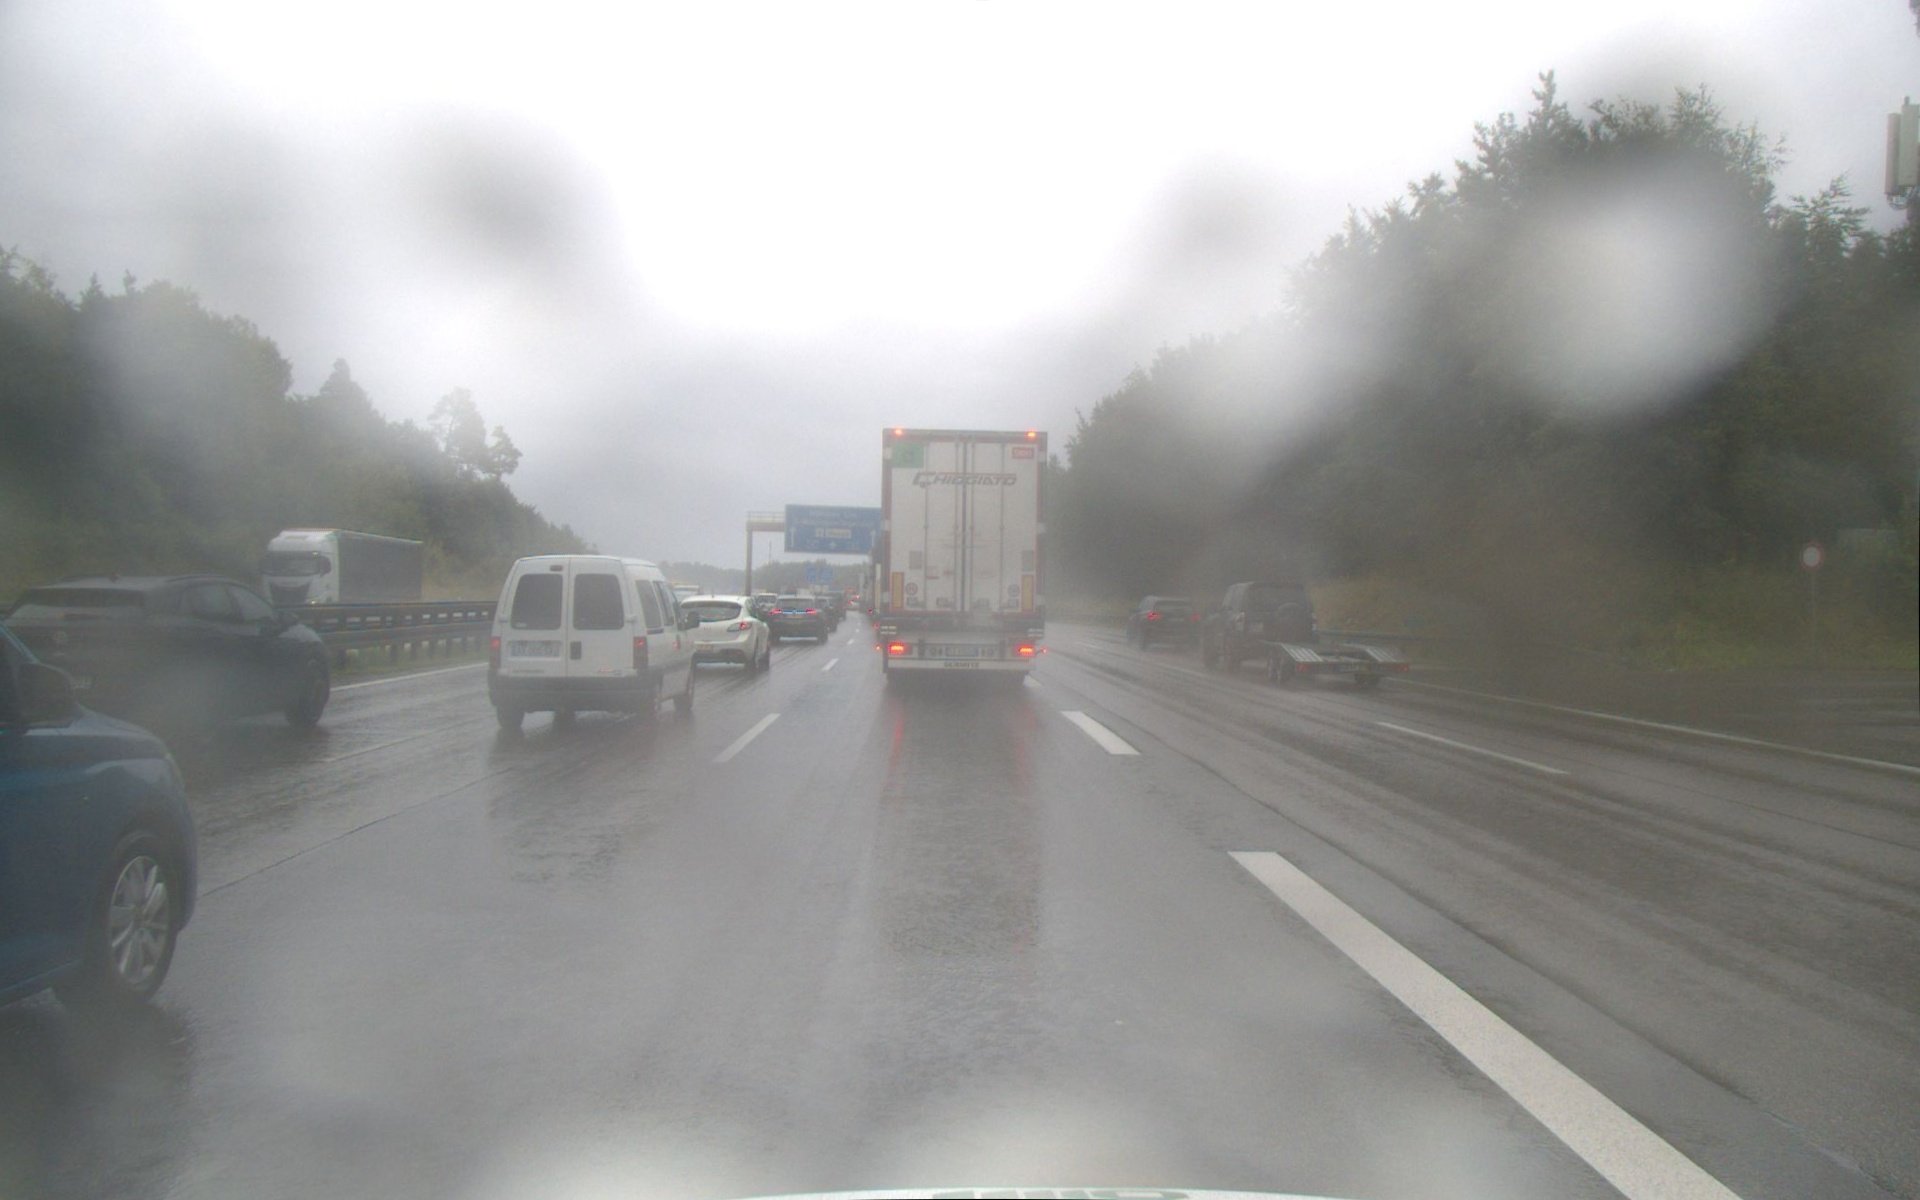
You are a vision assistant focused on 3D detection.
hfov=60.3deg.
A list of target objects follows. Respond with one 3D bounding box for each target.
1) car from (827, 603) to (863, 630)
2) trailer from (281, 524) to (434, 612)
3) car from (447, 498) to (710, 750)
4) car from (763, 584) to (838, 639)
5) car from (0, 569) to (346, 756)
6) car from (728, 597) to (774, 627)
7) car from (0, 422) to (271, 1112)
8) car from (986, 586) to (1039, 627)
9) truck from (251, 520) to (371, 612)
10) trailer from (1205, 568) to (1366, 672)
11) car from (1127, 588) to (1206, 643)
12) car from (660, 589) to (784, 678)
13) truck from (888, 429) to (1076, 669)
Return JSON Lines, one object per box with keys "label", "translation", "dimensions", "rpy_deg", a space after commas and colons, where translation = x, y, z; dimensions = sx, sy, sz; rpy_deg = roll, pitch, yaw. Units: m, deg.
{"label": "car", "translation": [-6.245, 0.866, 90.185], "dimensions": [1.809, 1.354, 4.464], "rpy_deg": [1, 0, -3]}
{"label": "trailer", "translation": [-28.934, -1.475, 80.315], "dimensions": [2.964, 3.884, 13.554], "rpy_deg": [0, 0, -2]}
{"label": "car", "translation": [-4.376, 0.232, 19.848], "dimensions": [2.168, 2.618, 5.013], "rpy_deg": [1, 0, -3]}
{"label": "car", "translation": [-4.969, 0.322, 52.138], "dimensions": [1.807, 1.619, 4.467], "rpy_deg": [1, 0, 1]}
{"label": "car", "translation": [-7.882, 0.524, 16.700], "dimensions": [1.808, 1.619, 4.465], "rpy_deg": [1, 0, -2]}
{"label": "car", "translation": [-10.011, 0.549, 79.463], "dimensions": [1.809, 1.354, 4.464], "rpy_deg": [1, 0, -3]}
{"label": "car", "translation": [-3.826, 0.465, 3.862], "dimensions": [2.222, 1.945, 5.016], "rpy_deg": [1, 0, 1]}
{"label": "car", "translation": [1.926, 0.227, 61.692], "dimensions": [1.851, 1.450, 4.483], "rpy_deg": [1, 0, 0]}
{"label": "truck", "translation": [-28.678, -1.451, 73.395], "dimensions": [2.959, 3.884, 6.262], "rpy_deg": [0, 0, -2]}
{"label": "trailer", "translation": [5.918, 0.314, 30.680], "dimensions": [2.196, 1.744, 5.084], "rpy_deg": [1, 0, 3]}
{"label": "car", "translation": [6.367, 0.433, 51.368], "dimensions": [1.949, 1.611, 4.768], "rpy_deg": [1, 0, 1]}
{"label": "car", "translation": [-4.648, 0.605, 32.807], "dimensions": [1.807, 1.619, 4.072], "rpy_deg": [1, 0, 0]}
{"label": "truck", "translation": [0.294, -0.755, 30.852], "dimensions": [2.814, 3.624, 11.300], "rpy_deg": [1, 0, 0]}
